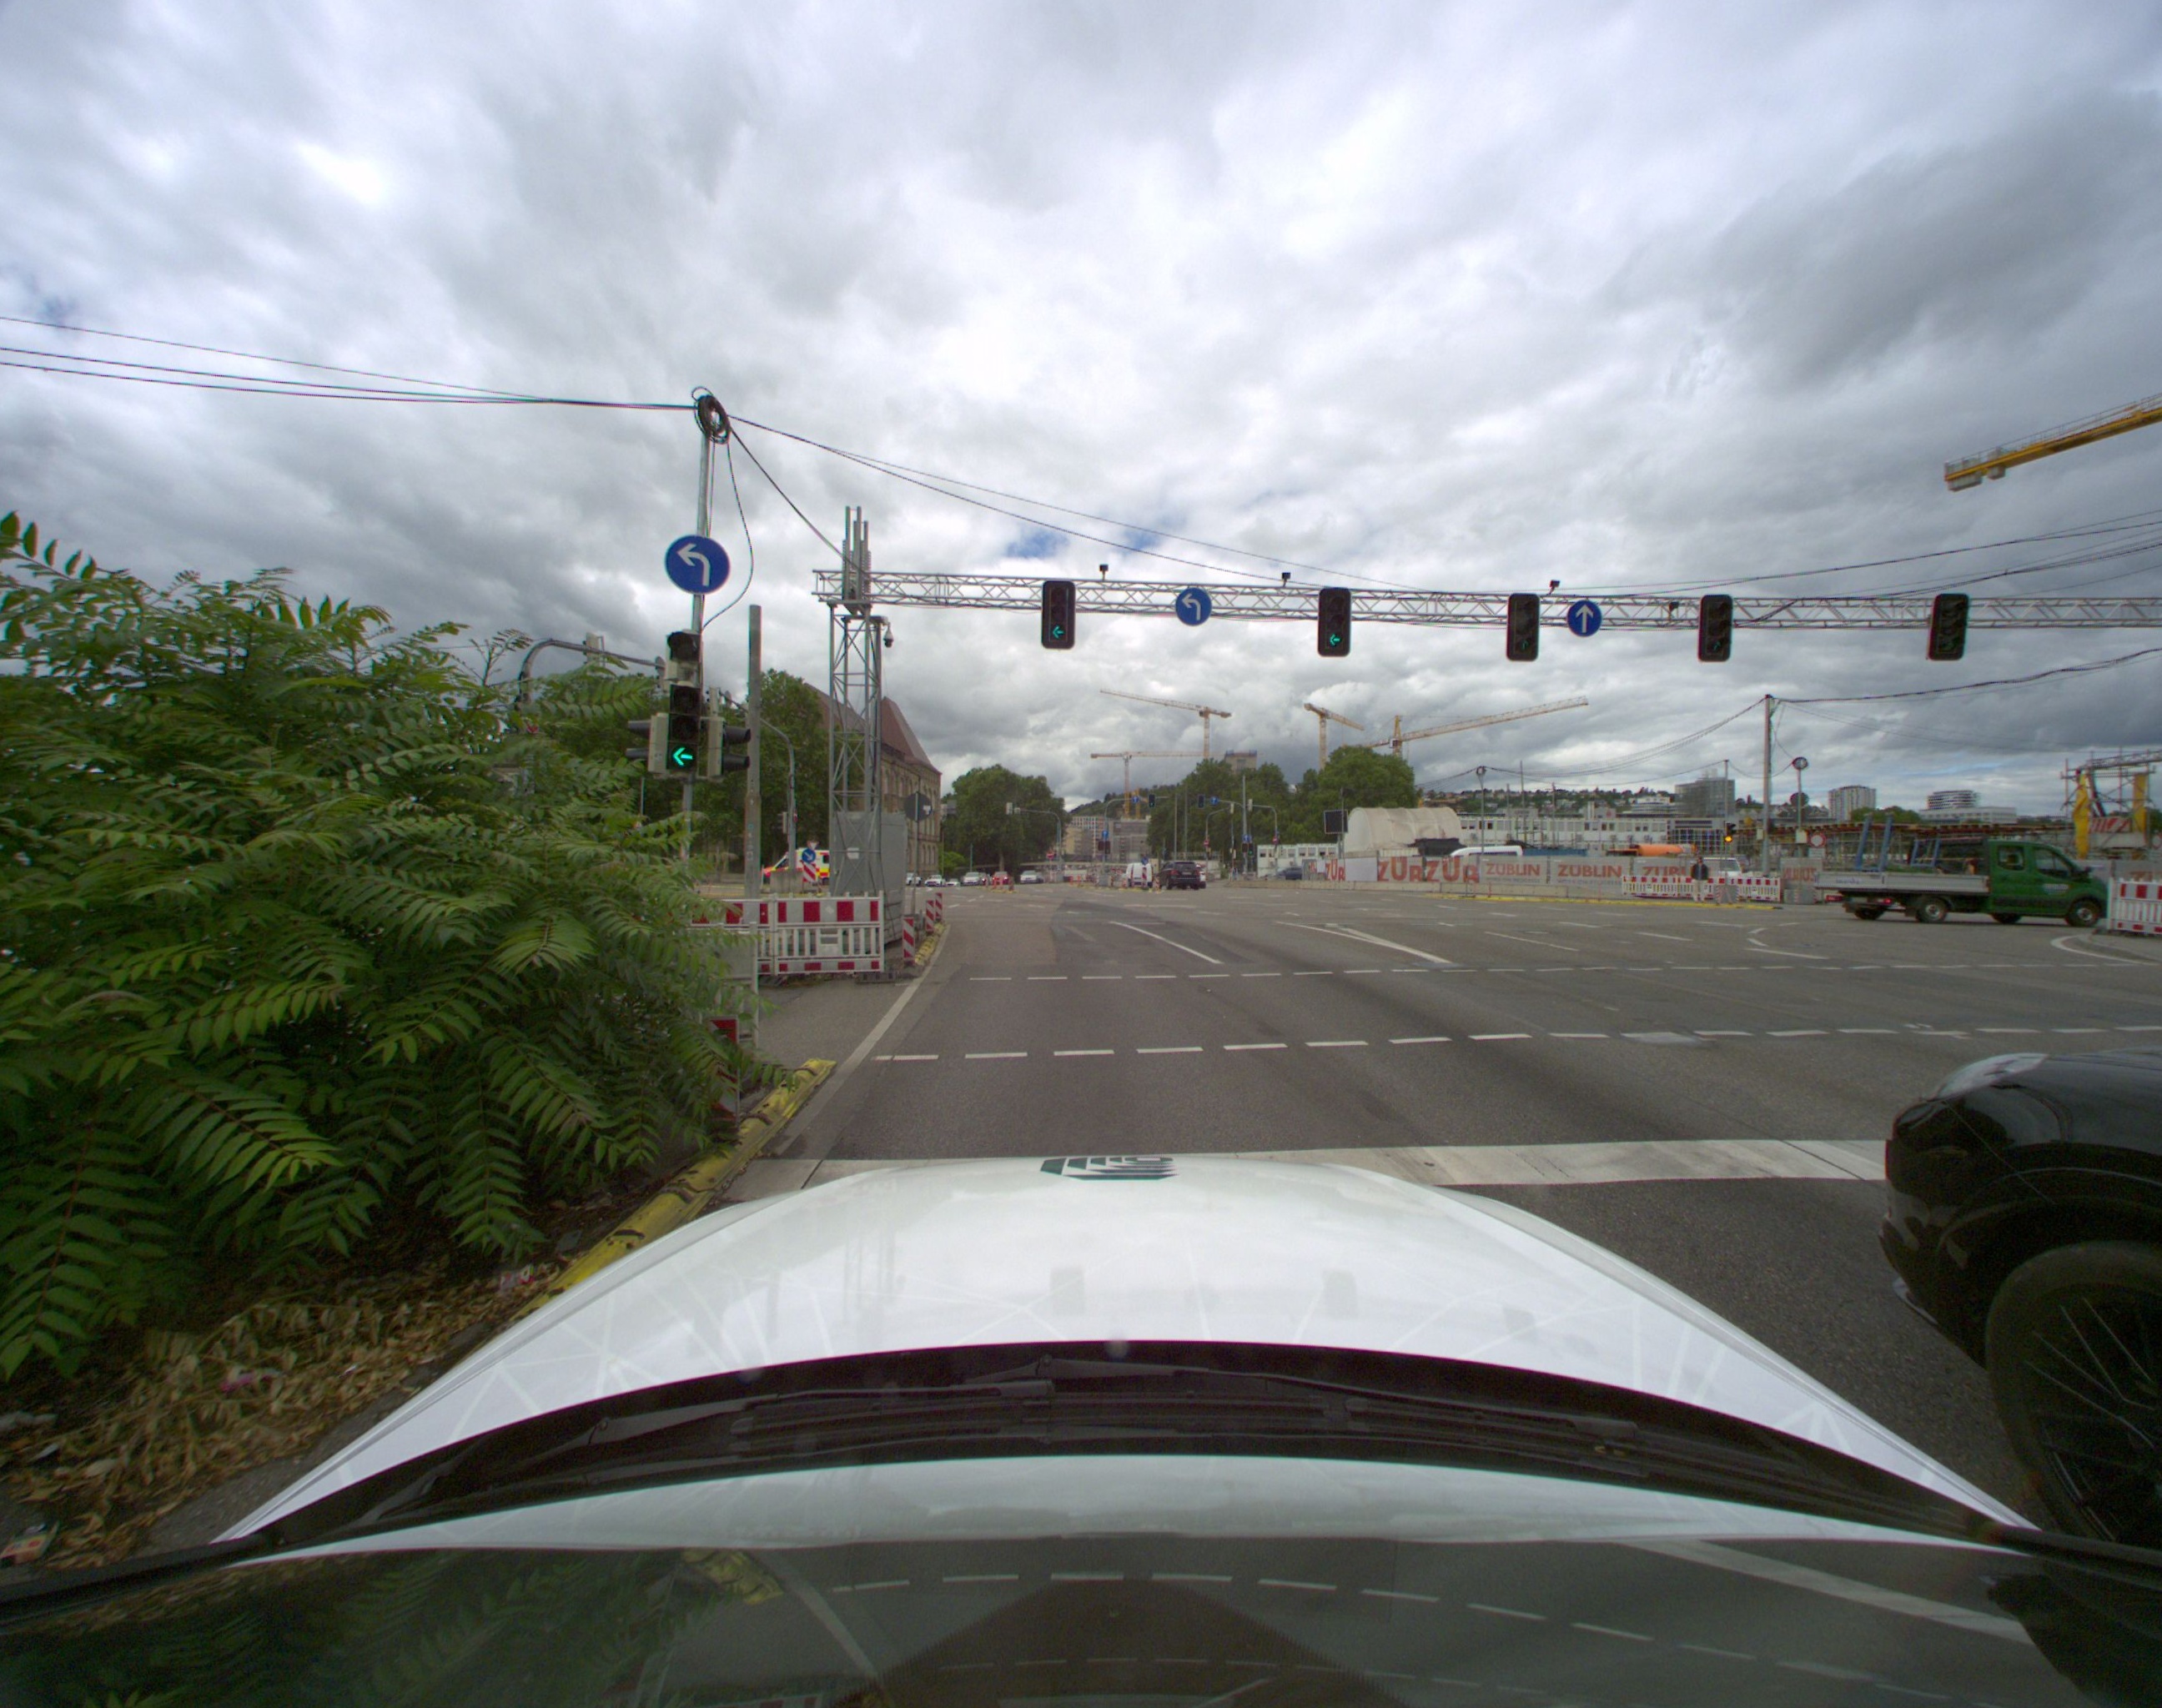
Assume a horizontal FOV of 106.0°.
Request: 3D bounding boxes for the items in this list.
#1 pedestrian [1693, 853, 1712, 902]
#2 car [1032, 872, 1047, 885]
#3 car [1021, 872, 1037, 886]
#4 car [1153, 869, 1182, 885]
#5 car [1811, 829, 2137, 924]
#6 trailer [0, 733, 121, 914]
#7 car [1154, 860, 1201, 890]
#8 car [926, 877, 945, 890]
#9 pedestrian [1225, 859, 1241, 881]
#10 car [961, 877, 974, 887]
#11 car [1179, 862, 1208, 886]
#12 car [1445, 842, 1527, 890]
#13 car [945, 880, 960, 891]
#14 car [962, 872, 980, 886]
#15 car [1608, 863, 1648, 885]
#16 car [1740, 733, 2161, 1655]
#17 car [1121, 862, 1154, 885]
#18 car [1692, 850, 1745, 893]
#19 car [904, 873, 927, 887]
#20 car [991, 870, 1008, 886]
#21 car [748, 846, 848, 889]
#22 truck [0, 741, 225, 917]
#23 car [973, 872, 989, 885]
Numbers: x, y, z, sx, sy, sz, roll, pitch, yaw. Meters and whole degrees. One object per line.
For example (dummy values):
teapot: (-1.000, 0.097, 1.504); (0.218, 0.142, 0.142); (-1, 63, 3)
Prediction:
pedestrian: (25.683, 0.956, 33.657); (0.581, 1.976, 0.437); (0, -1, 43)
car: (-4.741, 2.723, 92.172); (1.673, 1.398, 3.677); (0, -1, -4)
car: (-5.446, 2.556, 85.197); (1.673, 1.398, 3.677); (0, -1, -4)
car: (8.061, 2.120, 75.849); (1.680, 1.398, 3.069); (0, -1, -16)
car: (23.072, 0.575, 21.297); (5.732, 2.305, 2.306); (0, -1, 4)
trailer: (-32.438, -0.661, 19.928); (13.708, 4.281, 2.945); (0, -1, -2)
car: (5.821, 1.241, 49.455); (1.830, 1.746, 4.244); (0, -1, -8)
car: (-17.156, 3.480, 96.176); (1.671, 1.398, 3.682); (0, -1, 0)
pedestrian: (14.060, 1.464, 75.379); (1.094, 2.014, 1.181); (0, -1, -10)
car: (-16.912, 4.197, 121.462); (1.673, 1.398, 3.677); (0, -1, -4)
car: (8.114, 1.454, 58.999); (1.670, 1.702, 3.375); (0, -1, 2)
car: (23.221, 0.705, 46.823); (3.957, 2.662, 1.688); (-1, -1, 15)
car: (-17.424, 4.233, 110.206); (1.673, 1.398, 3.677); (0, -1, -4)
car: (-11.595, 2.609, 85.969); (1.673, 1.398, 3.677); (0, -1, -4)
car: (40.150, 1.442, 59.842); (1.661, 1.528, 4.021); (-1, -1, 22)
car: (2.873, 0.610, 0.240); (1.817, 1.715, 4.486); (0, -1, 2)
car: (4.119, 1.413, 60.385); (1.814, 1.625, 3.992); (0, -1, -5)
car: (30.127, 0.799, 38.576); (1.755, 1.954, 3.146); (-1, -1, 34)
car: (-17.542, 2.738, 86.273); (1.670, 1.398, 3.682); (0, -1, 0)
car: (-8.456, 2.483, 84.983); (1.673, 1.580, 3.677); (0, -1, -4)
car: (-20.636, 0.971, 59.738); (6.753, 3.052, 2.358); (0, -1, -17)
truck: (-25.385, -0.554, 20.250); (4.864, 4.064, 2.942); (0, -1, -3)
car: (-11.242, 2.788, 91.644); (1.673, 1.398, 3.677); (0, -1, -4)
